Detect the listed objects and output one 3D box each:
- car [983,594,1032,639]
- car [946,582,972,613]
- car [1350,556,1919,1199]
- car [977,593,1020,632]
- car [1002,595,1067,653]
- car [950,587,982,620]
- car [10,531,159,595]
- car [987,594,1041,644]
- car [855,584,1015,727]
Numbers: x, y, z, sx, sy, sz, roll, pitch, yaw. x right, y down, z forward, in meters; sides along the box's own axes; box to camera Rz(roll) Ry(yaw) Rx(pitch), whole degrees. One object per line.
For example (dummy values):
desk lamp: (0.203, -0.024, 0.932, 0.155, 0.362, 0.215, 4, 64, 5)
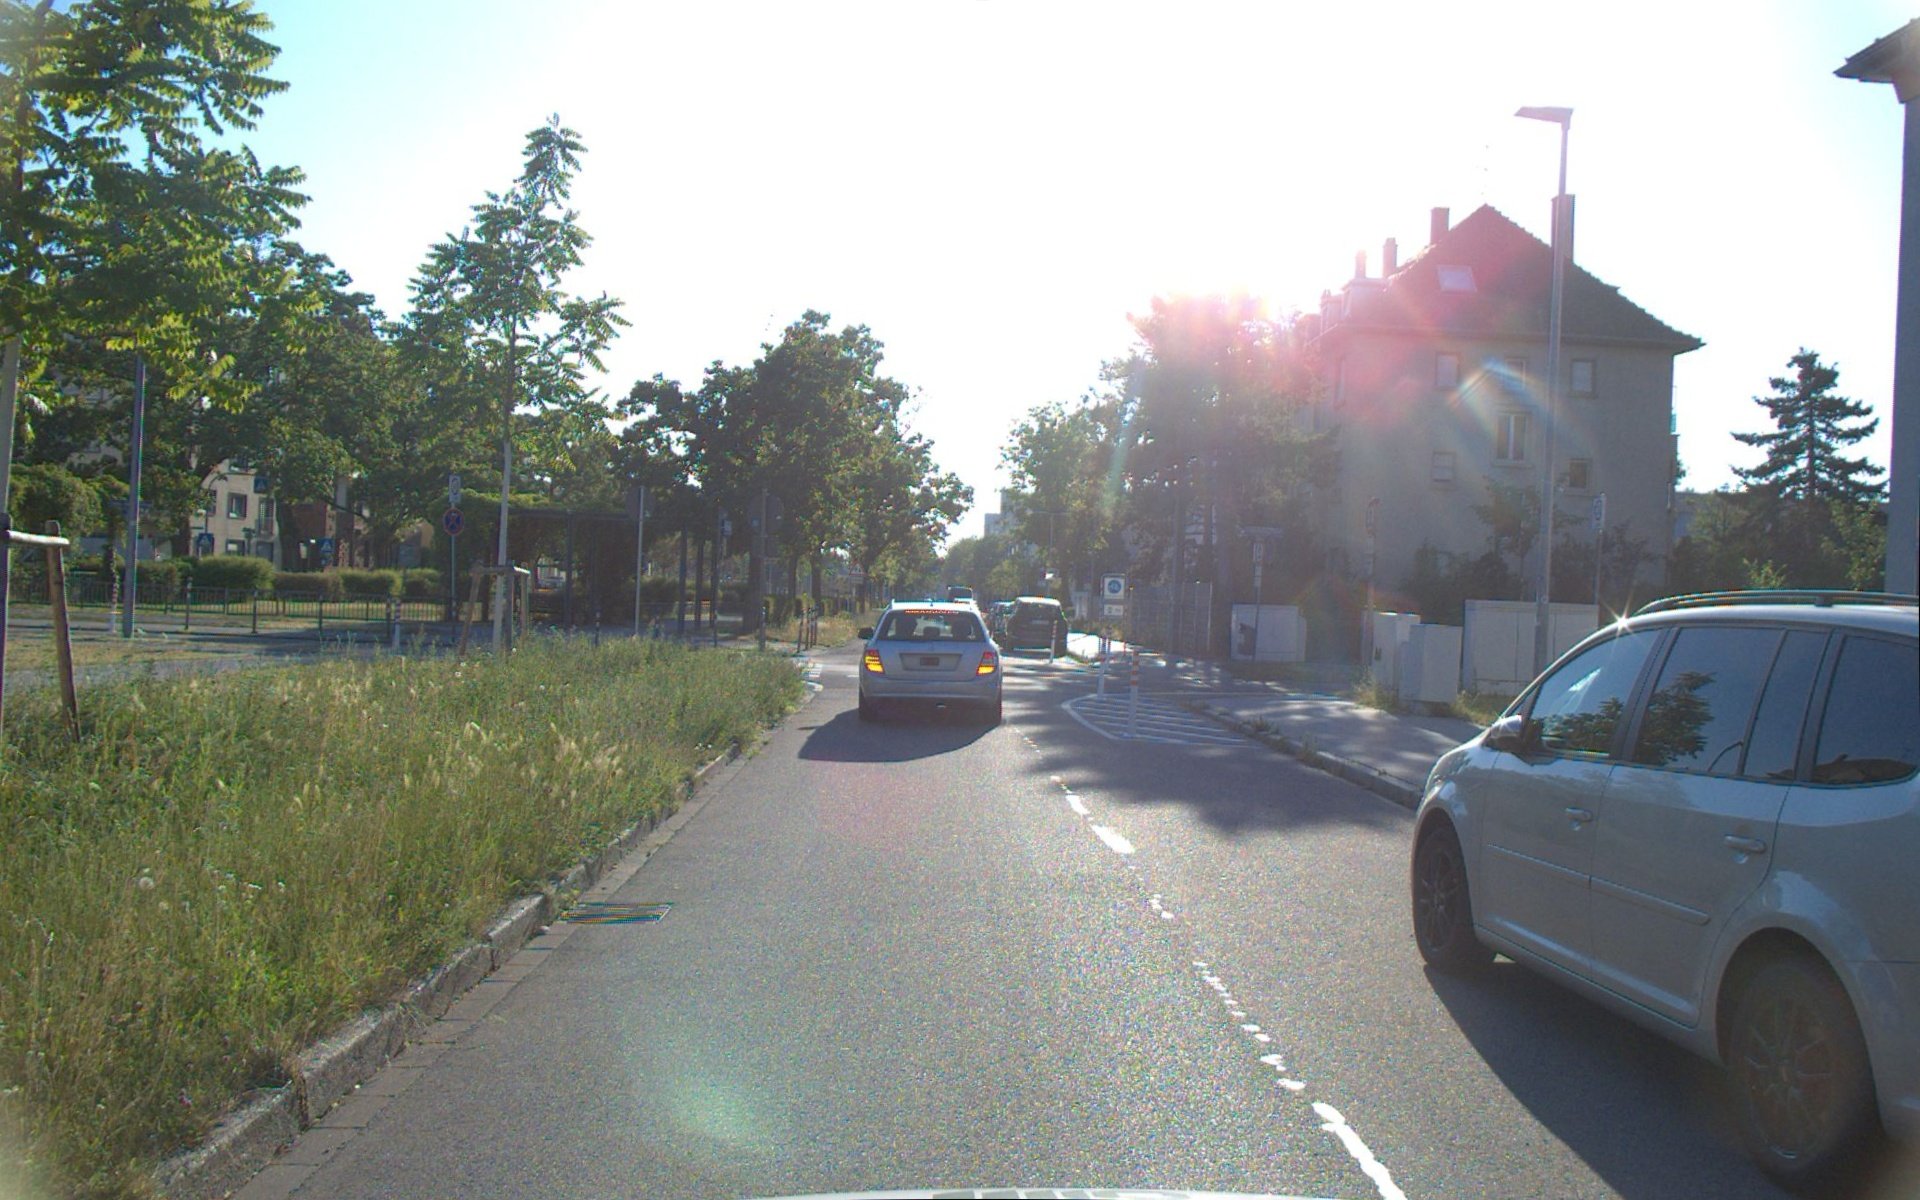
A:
car: (1.824, 0.645, 64.515, 1.686, 1.625, 3.999, 3, 0, -1)
car: (-0.103, -0.150, 126.132, 1.823, 2.231, 5.069, 3, 0, -1)
car: (3.011, 0.788, 6.018, 1.683, 1.667, 4.560, 4, 0, -5)
car: (1.693, 0.548, 73.173, 1.686, 1.625, 3.999, 3, 0, -1)
car: (2.208, 0.736, 49.742, 1.686, 1.625, 3.999, 2, -1, -1)
car: (0.403, 0.227, 108.083, 1.948, 2.059, 3.999, 3, 0, -1)
car: (-42.415, -1.784, 80.181, 6.232, 2.767, 1.981, 3, 0, -32)
car: (1.884, 0.659, 58.892, 1.686, 1.625, 3.999, 3, 0, -1)
car: (-0.297, 0.623, 20.828, 1.786, 1.594, 3.999, 1, 0, -1)
